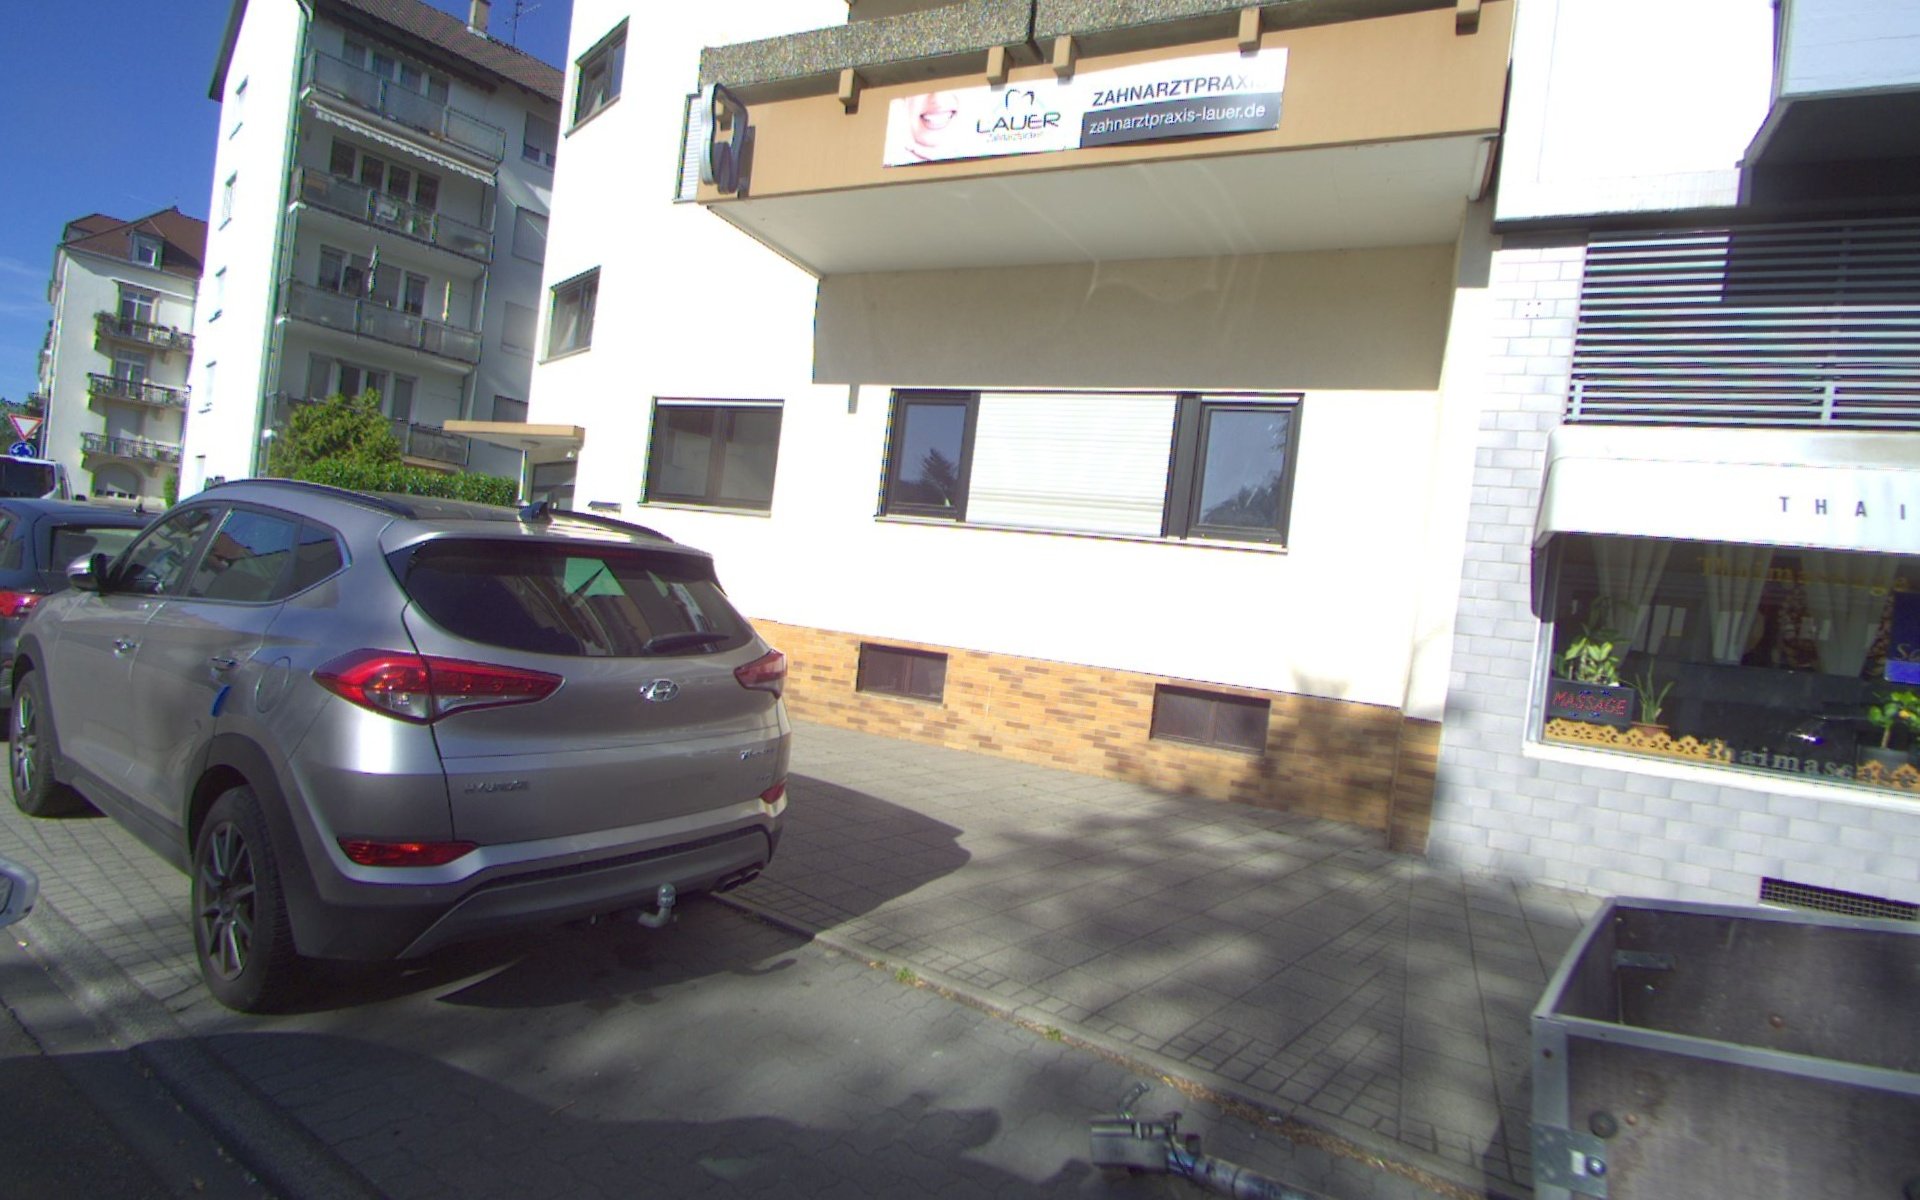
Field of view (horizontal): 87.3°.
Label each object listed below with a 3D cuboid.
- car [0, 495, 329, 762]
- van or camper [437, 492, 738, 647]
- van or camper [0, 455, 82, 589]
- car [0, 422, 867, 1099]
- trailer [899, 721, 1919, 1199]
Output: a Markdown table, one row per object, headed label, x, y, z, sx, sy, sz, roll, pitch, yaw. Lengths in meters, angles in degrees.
| label | x | y | z | sx | sy | sz | roll | pitch | yaw |
| --- | --- | --- | --- | --- | --- | --- | --- | --- | --- |
| car | -6.517 | 0.018 | 7.349 | 4.247 | 1.427 | 1.716 | 7 | 2 | 36 |
| van or camper | -7.020 | -0.500 | 19.386 | 4.947 | 2.317 | 1.831 | 7 | 1 | -45 |
| van or camper | -16.281 | -1.393 | 17.038 | 2.012 | 1.972 | 4.647 | 4 | 1 | -42 |
| car | -2.770 | 0.360 | 4.539 | 4.490 | 1.673 | 1.818 | 4 | -2 | 36 |
| trailer | 1.529 | 1.033 | 1.763 | 2.899 | 1.192 | 1.602 | 6 | -1 | 38 |
